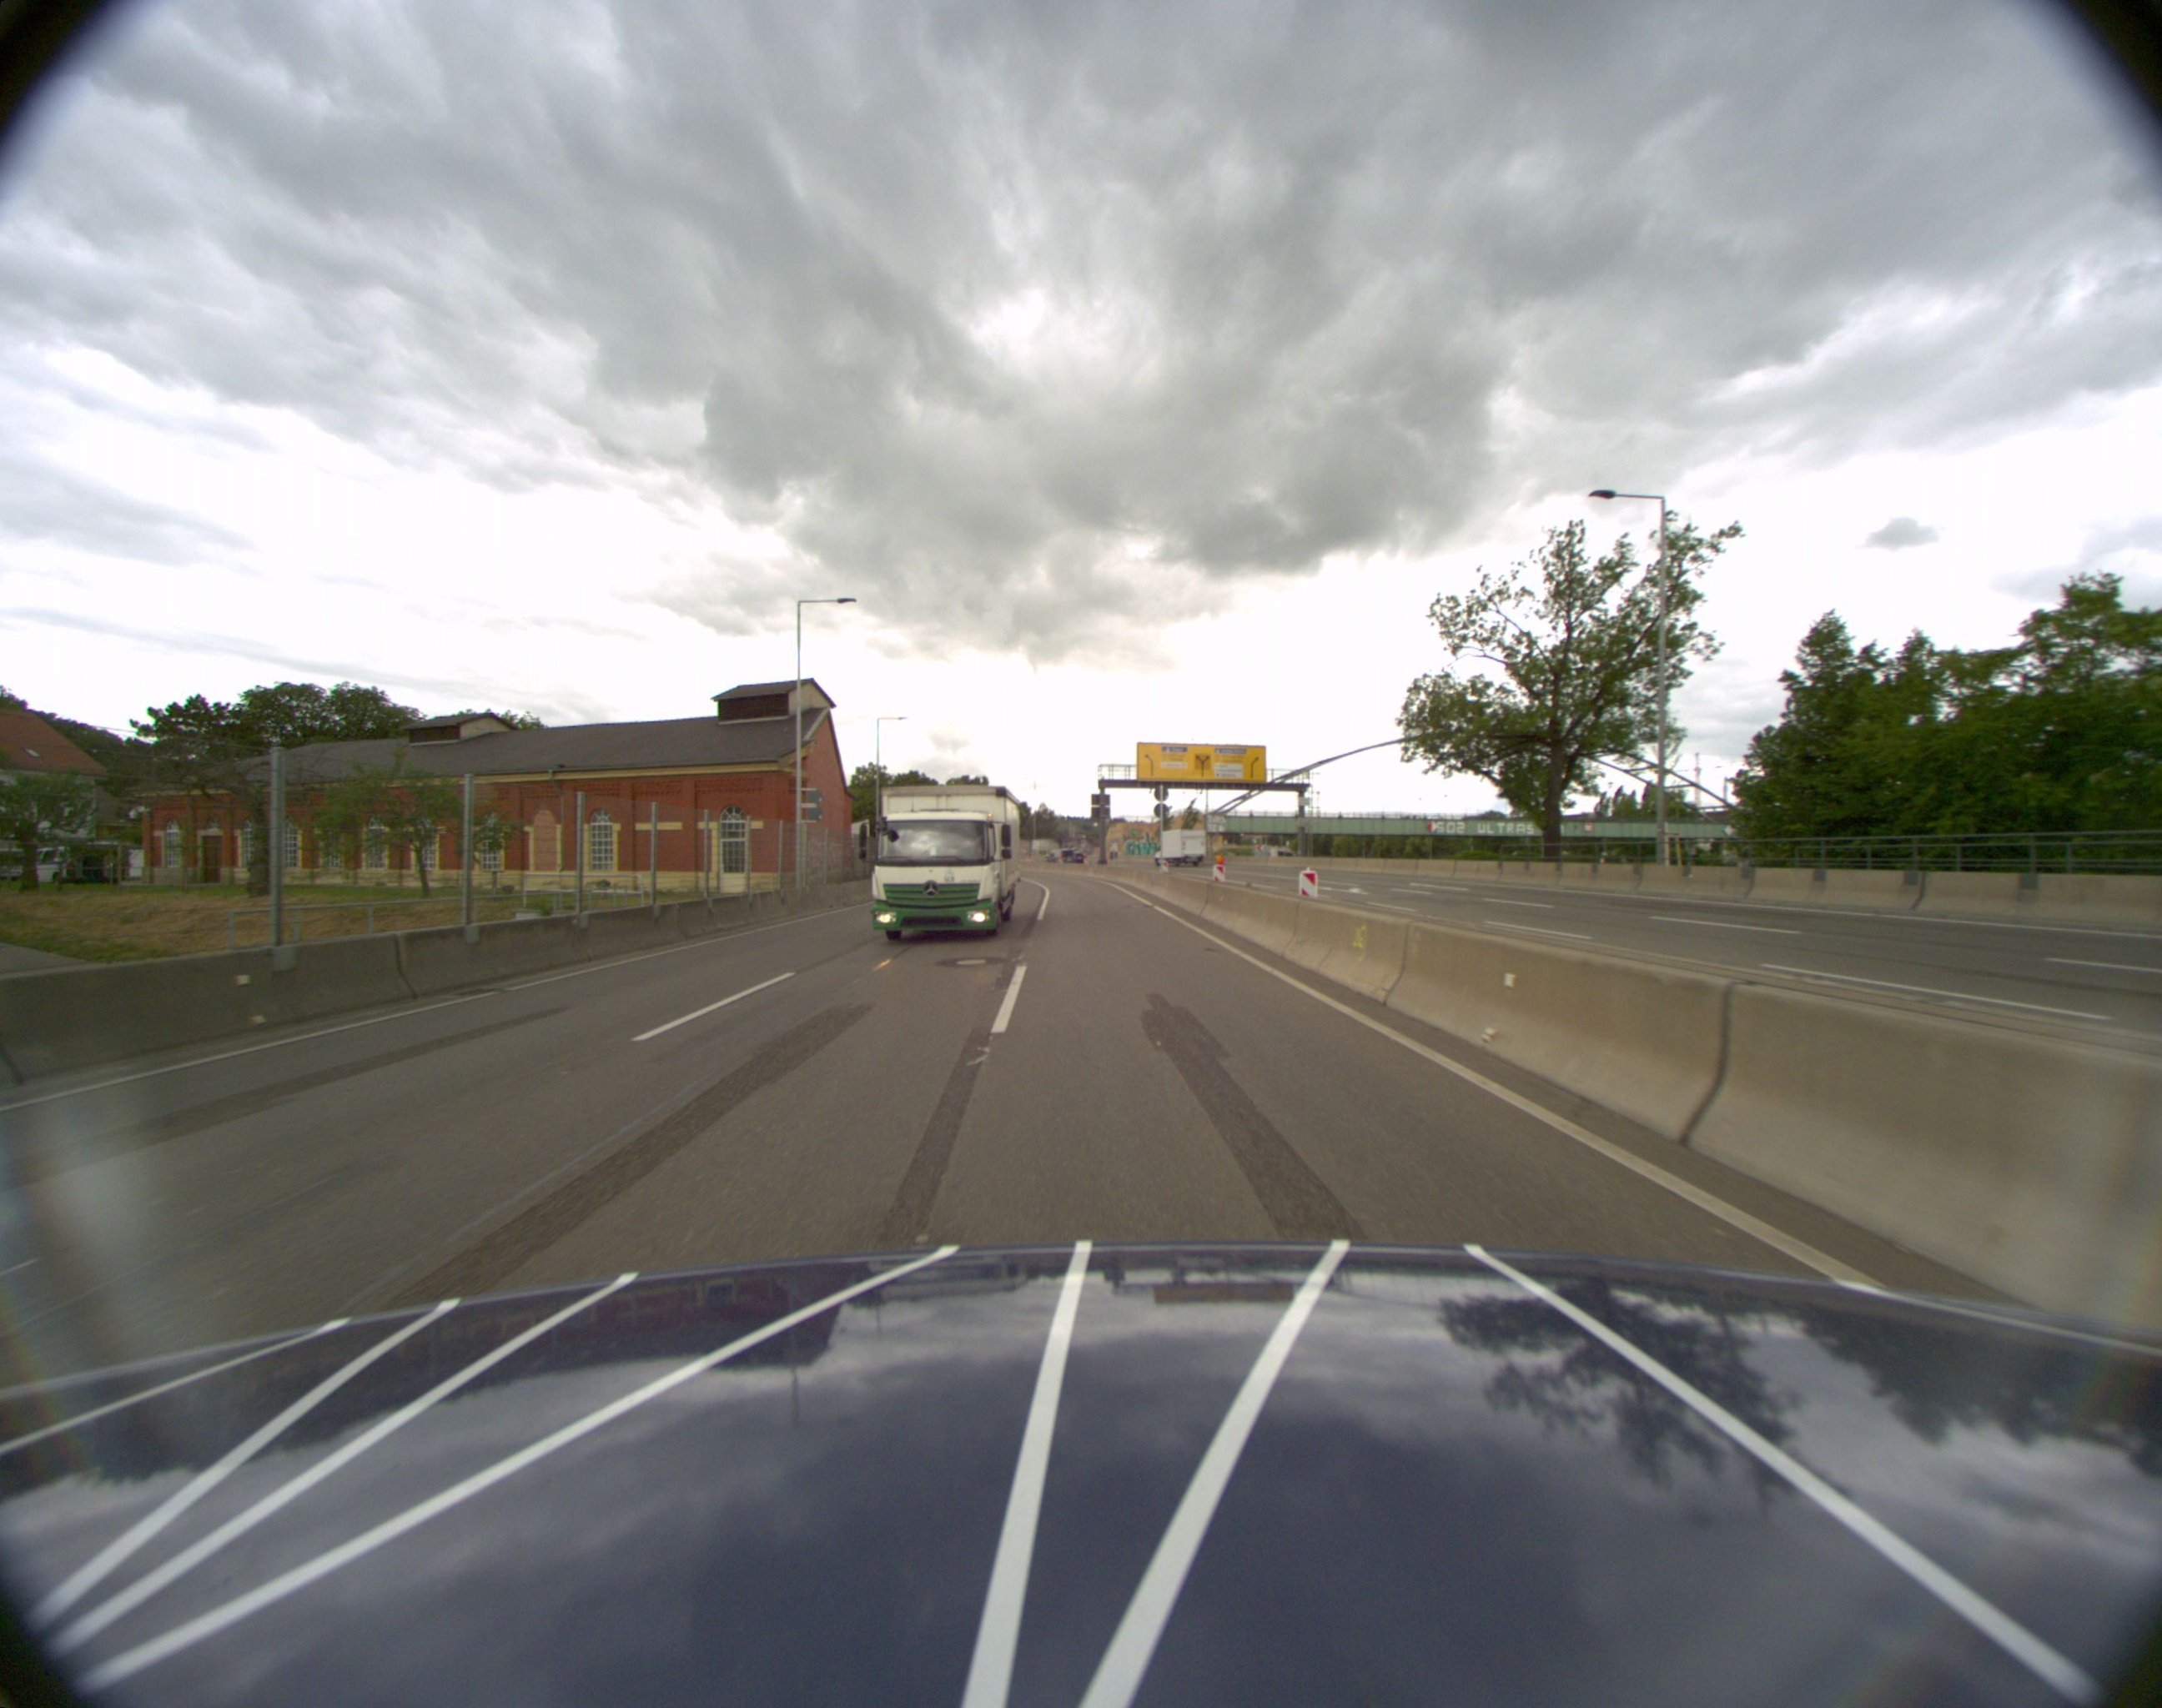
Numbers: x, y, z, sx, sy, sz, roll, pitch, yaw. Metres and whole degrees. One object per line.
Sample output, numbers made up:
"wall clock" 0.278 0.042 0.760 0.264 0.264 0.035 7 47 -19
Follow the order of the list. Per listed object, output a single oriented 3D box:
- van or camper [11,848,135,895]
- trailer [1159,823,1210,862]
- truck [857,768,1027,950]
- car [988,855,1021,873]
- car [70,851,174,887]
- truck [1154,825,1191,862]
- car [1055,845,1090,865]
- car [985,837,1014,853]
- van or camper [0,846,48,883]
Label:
"van or camper" -48.222 0.837 36.368 4.561 2.133 2.002 -1 1 16
"trailer" 8.774 -0.929 65.048 2.281 3.120 5.703 -2 1 -14
"truck" -2.795 0.098 17.625 2.637 3.220 7.414 -3 0 -2
"car" -6.349 0.794 63.038 1.827 1.440 3.605 -1 0 -21
"car" -50.399 0.777 39.961 3.992 1.772 2.002 -1 0 16
"truck" 8.091 -0.920 67.665 2.281 3.096 2.983 -2 1 -14
"car" -0.836 0.125 72.266 1.909 1.795 4.947 -3 0 -17
"car" -10.014 -1.037 92.748 1.959 1.796 5.782 -2 1 -22
"van or camper" -60.795 0.600 42.466 4.489 2.002 1.907 -1 1 13
